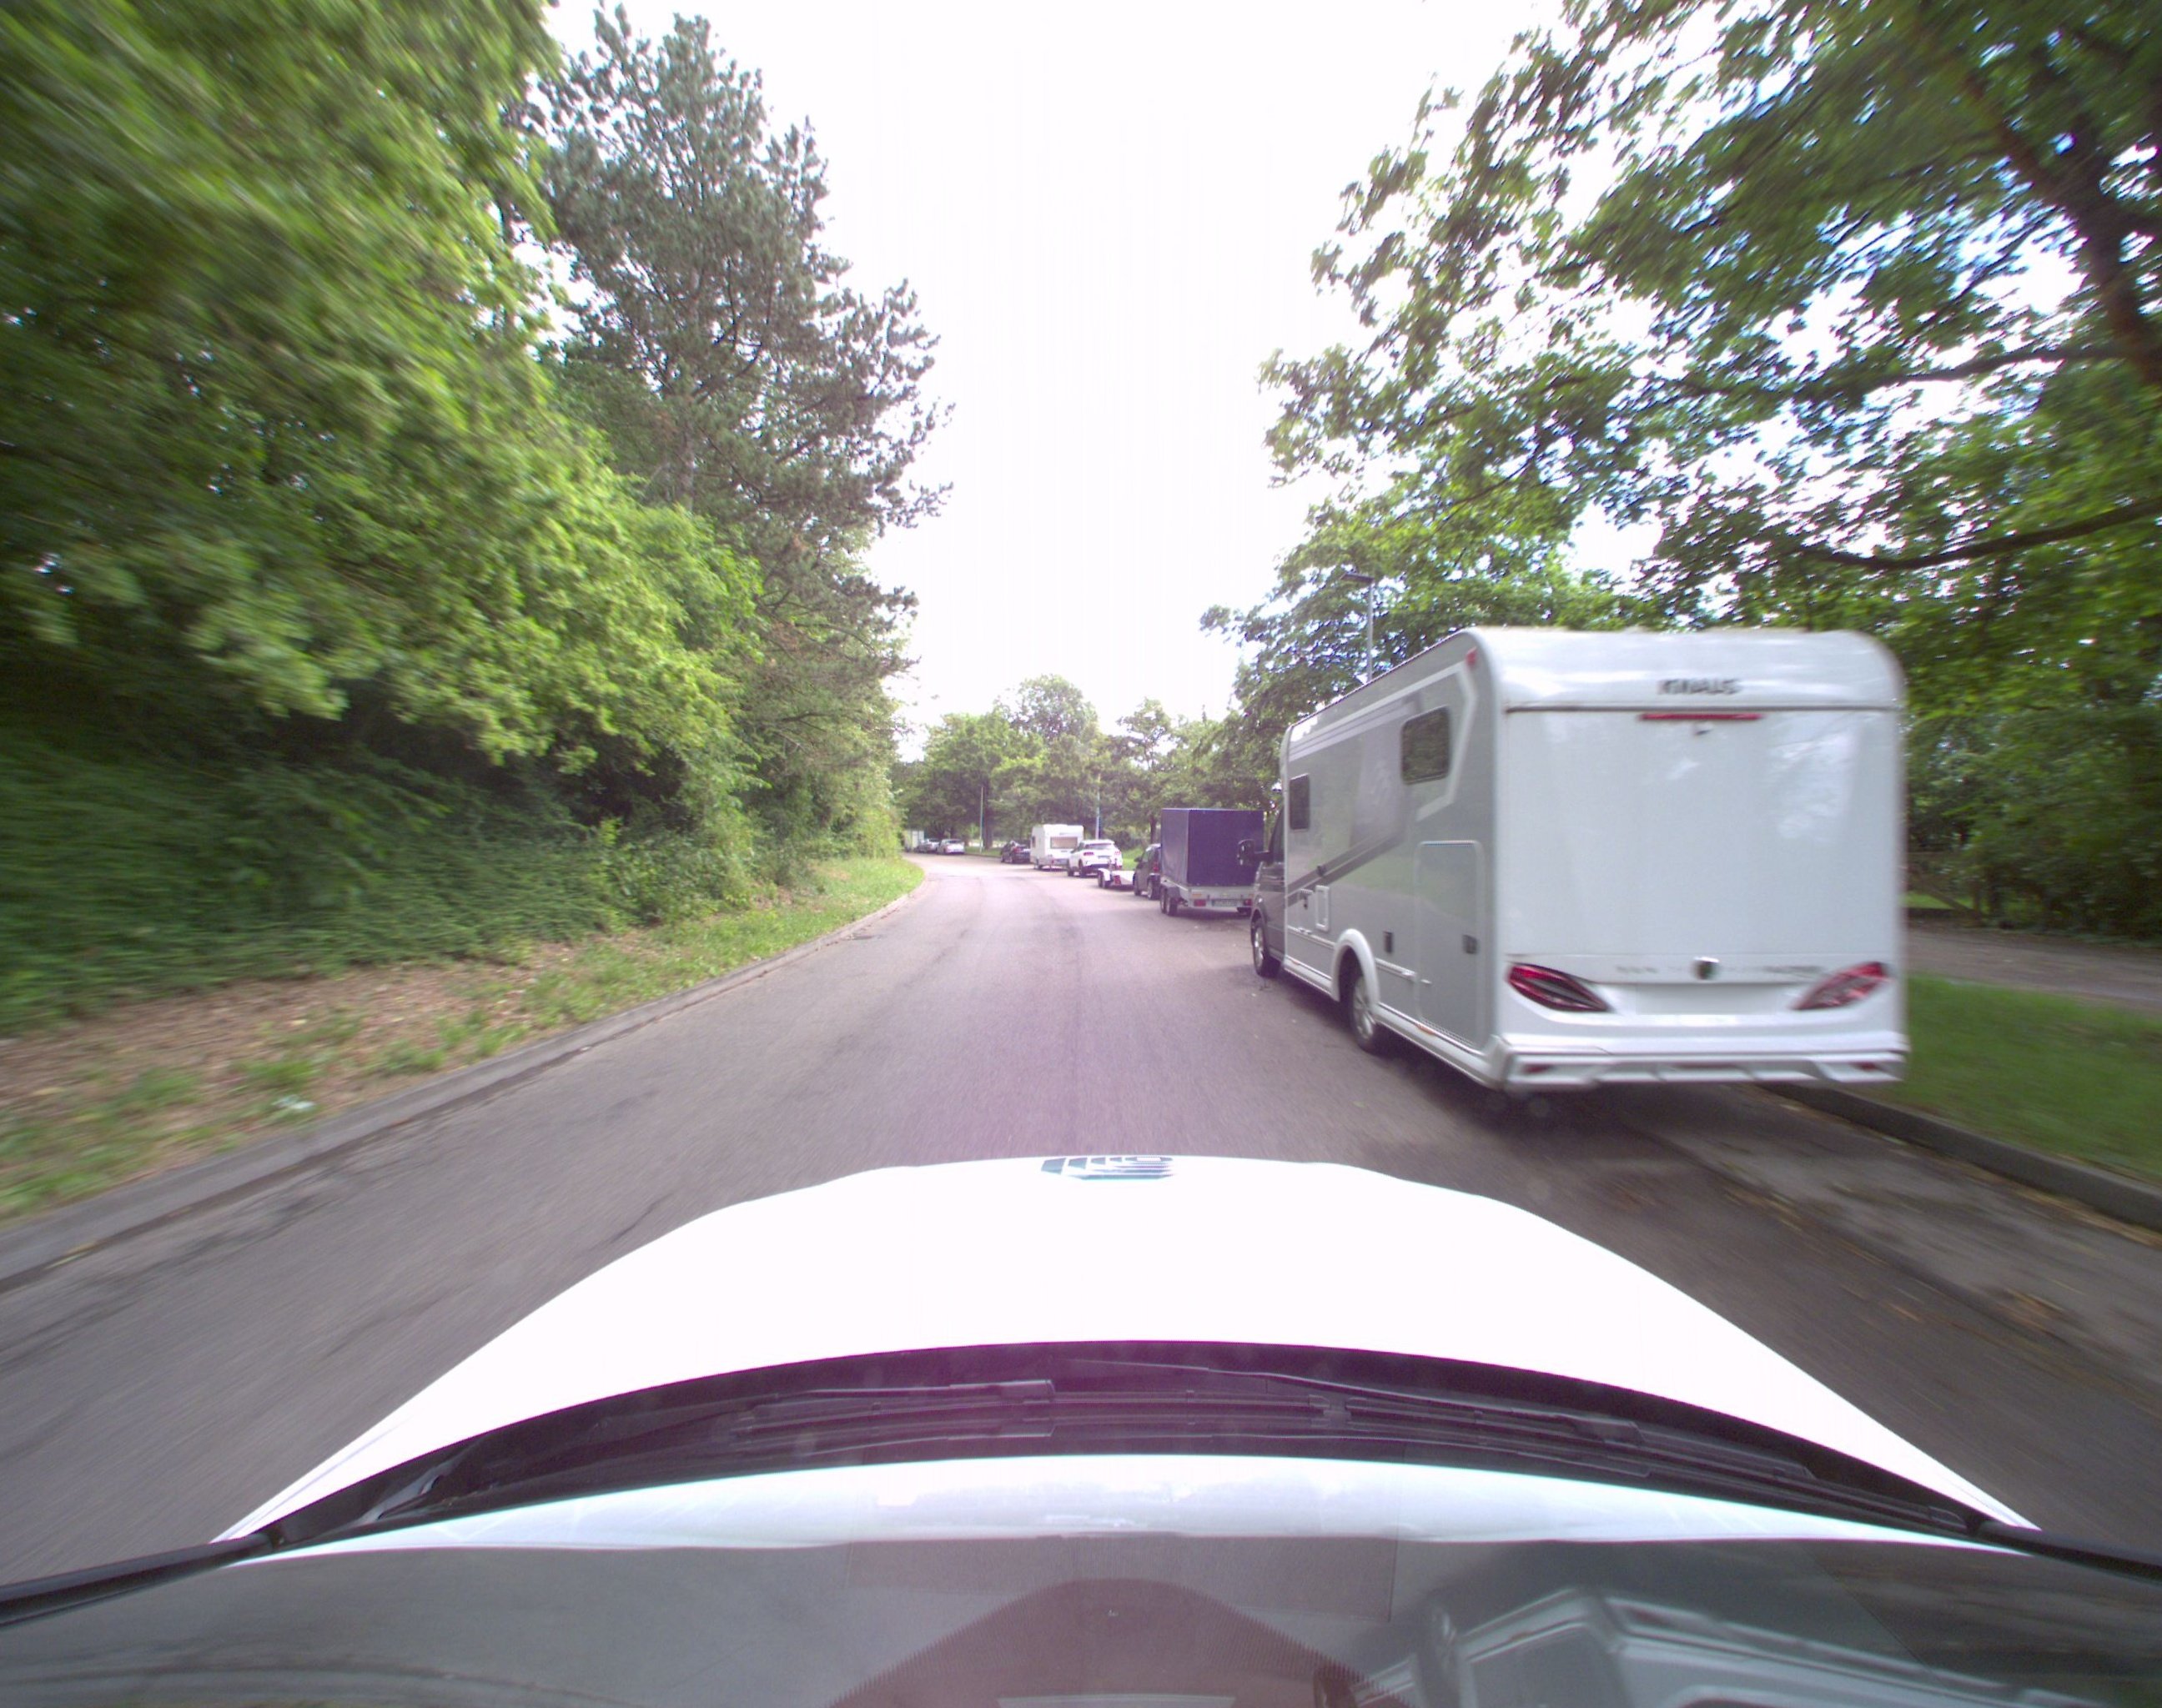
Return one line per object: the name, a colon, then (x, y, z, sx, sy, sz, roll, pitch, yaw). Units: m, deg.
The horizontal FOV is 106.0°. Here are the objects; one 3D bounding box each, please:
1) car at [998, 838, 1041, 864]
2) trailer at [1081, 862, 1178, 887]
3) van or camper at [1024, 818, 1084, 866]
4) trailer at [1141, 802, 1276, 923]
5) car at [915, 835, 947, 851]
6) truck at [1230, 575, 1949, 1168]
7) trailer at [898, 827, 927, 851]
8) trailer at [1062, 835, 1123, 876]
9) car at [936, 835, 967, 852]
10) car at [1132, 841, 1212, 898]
car: (-4.244, -0.258, 55.922, 1.854, 1.642, 4.501, -1, 1, -19)
trailer: (1.573, 0.687, 29.282, 2.104, 0.651, 6.380, 0, 1, -10)
van or camper: (-1.638, -0.661, 46.536, 2.165, 2.536, 6.002, 0, 1, -14)
trailer: (2.726, 0.052, 18.555, 2.102, 2.361, 4.698, -2, 3, -3)
car: (-14.981, -1.074, 81.092, 1.752, 1.525, 4.592, -2, 2, -30)
truck: (3.208, 0.024, 7.592, 2.296, 2.933, 7.032, -1, 1, 0)
trailer: (-17.742, -1.628, 85.688, 1.772, 2.426, 3.850, -2, 2, -30)
trailer: (0.460, 0.064, 37.505, 1.774, 1.730, 4.631, -2, 1, -12)
car: (-11.968, -0.931, 75.118, 1.910, 1.476, 4.028, 1, -1, -22)
car: (2.558, 0.439, 23.582, 1.726, 1.522, 3.399, 0, -1, -4)
